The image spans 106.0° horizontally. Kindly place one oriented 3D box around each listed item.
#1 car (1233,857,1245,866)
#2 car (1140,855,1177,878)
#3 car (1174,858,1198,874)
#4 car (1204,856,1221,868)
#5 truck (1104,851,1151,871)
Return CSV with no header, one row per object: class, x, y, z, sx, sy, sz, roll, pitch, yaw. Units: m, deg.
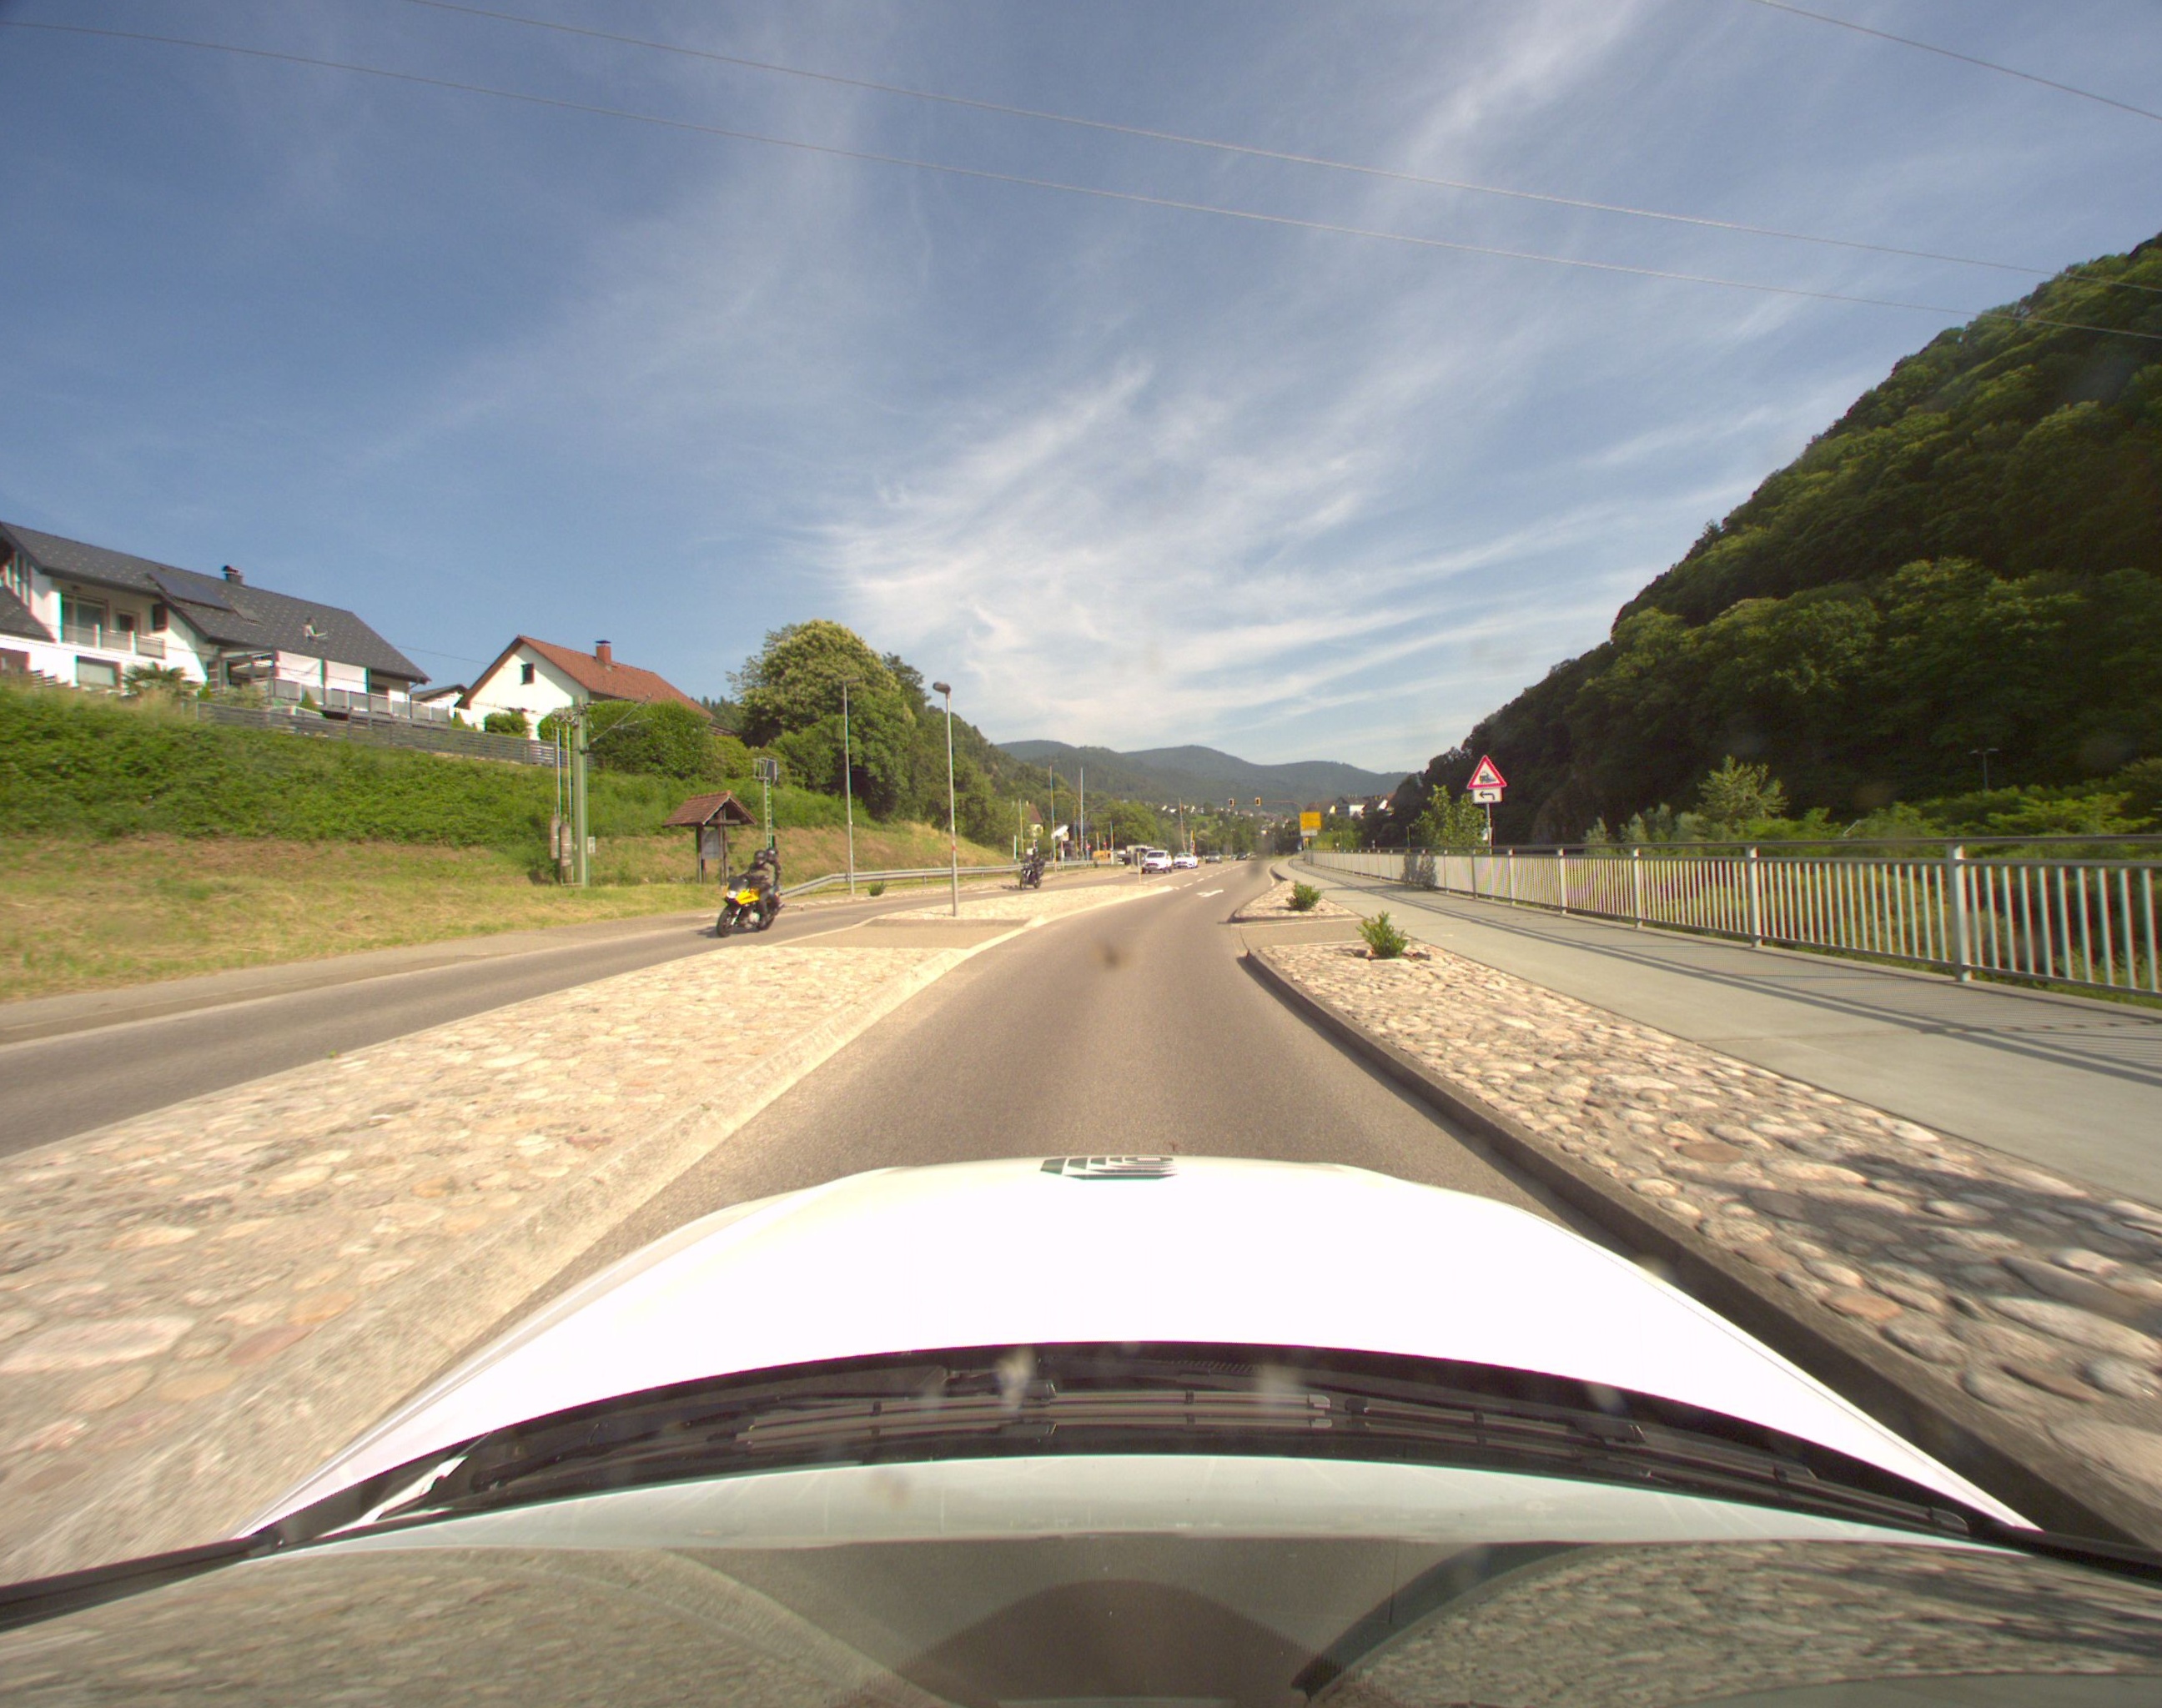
car,27.320,1.278,140.771,1.760,1.416,3.799,-3,-1,14
car,5.544,0.854,57.852,1.750,1.560,4.018,-1,-1,17
car,9.676,1.084,74.754,1.770,1.400,4.842,-1,-1,12
car,16.659,1.053,103.009,1.746,1.521,4.220,0,-1,14
truck,5.617,0.862,98.940,2.012,2.266,5.929,-2,1,-44
